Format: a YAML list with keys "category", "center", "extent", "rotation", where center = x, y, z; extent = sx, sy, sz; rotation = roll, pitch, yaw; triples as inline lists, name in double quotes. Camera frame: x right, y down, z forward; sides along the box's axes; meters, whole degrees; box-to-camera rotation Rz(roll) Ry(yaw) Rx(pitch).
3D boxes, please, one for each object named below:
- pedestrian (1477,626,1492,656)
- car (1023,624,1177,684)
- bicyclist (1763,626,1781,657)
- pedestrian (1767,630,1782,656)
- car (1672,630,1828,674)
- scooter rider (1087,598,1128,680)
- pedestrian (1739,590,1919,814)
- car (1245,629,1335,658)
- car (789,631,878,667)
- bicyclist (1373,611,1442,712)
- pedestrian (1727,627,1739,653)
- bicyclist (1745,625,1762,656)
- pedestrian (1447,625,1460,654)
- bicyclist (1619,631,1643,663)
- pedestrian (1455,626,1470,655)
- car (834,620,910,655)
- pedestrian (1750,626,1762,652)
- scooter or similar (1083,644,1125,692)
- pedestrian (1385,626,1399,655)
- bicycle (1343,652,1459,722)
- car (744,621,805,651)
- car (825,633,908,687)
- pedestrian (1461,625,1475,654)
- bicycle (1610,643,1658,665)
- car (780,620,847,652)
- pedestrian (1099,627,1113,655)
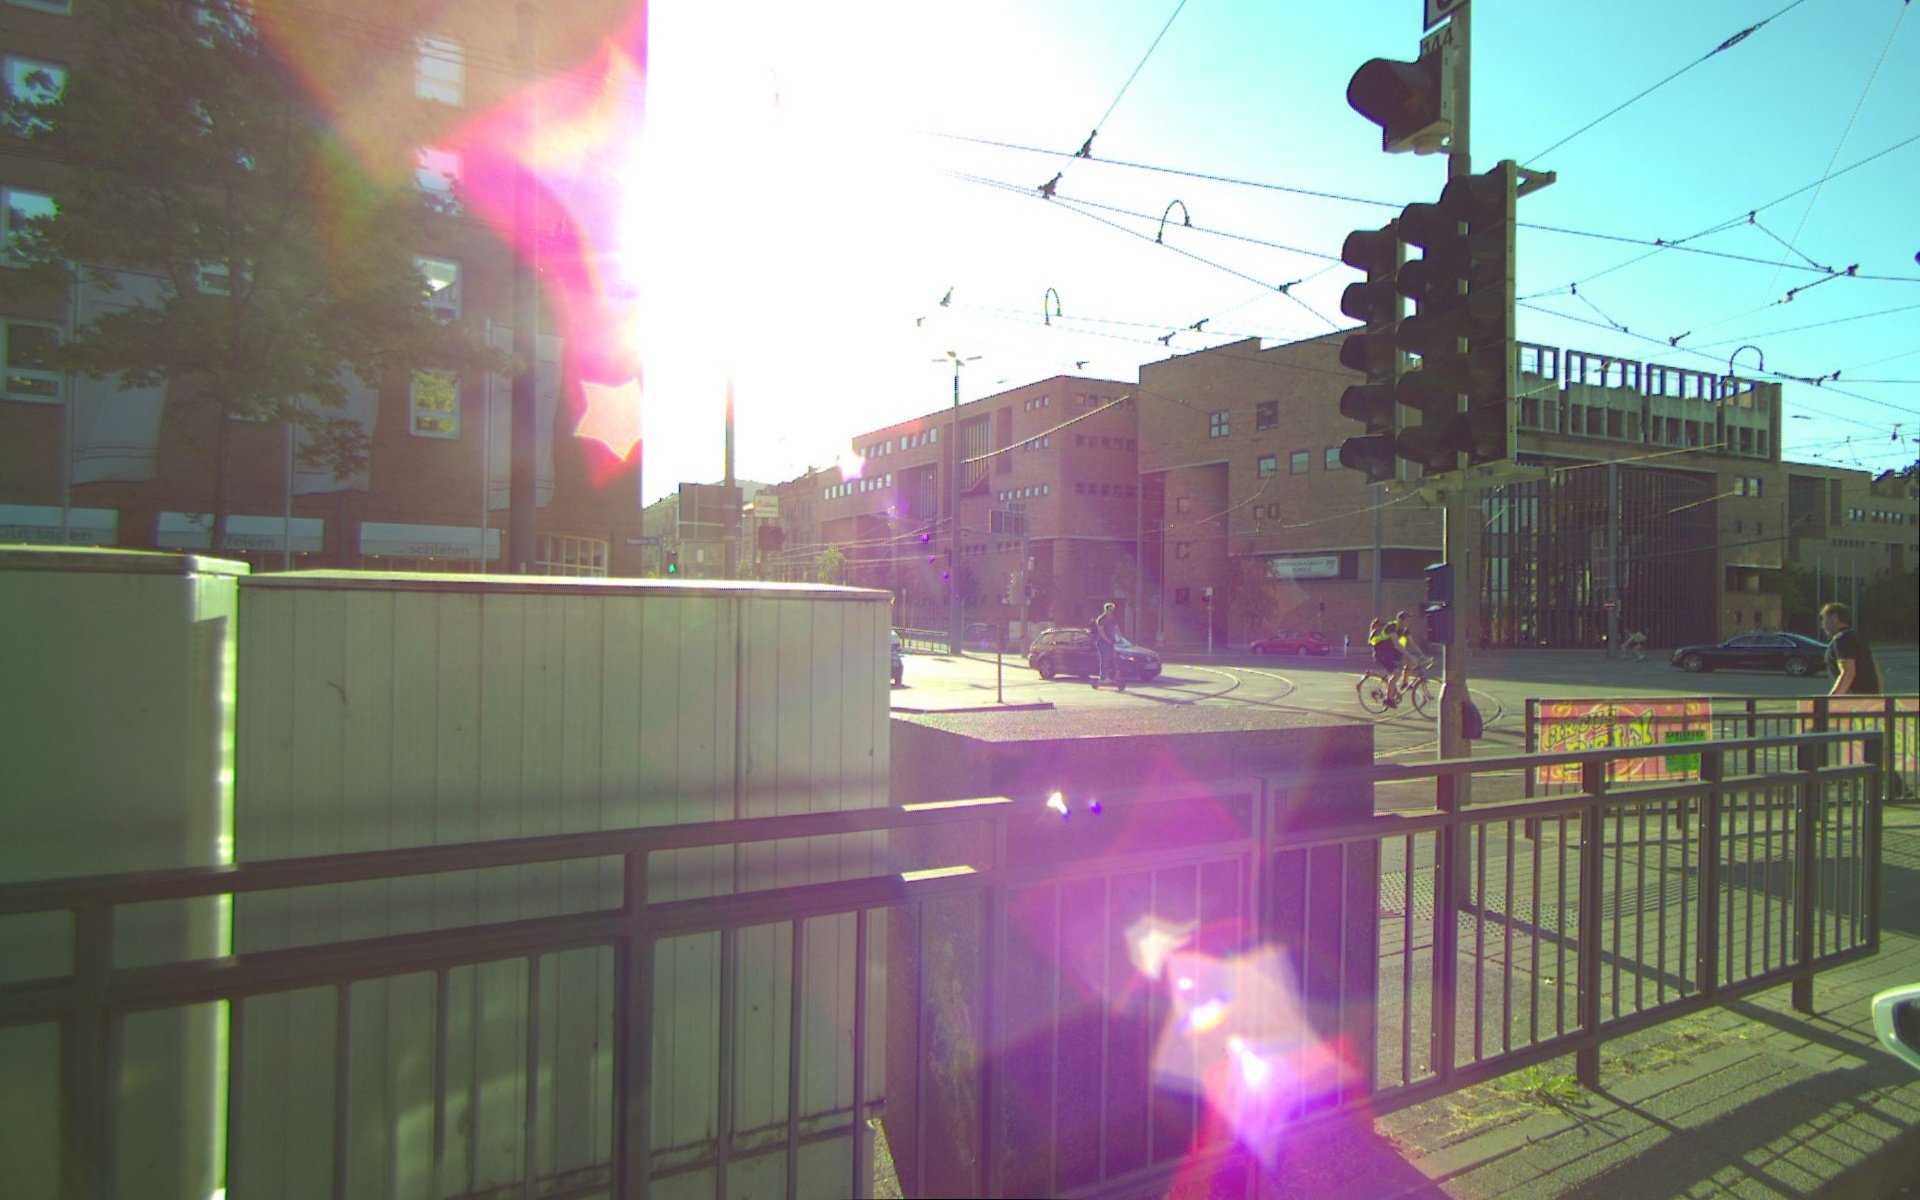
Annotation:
- category: "pedestrian"
  center: [30.067, 2.345, 57.606]
  extent: [0.528, 1.672, 0.625]
  rotation: [0, -1, 0]
- category: "car"
  center: [3.967, 1.506, 29.105]
  extent: [1.981, 1.538, 4.354]
  rotation: [0, -1, -36]
- category: "bicyclist"
  center: [45.107, 2.280, 55.816]
  extent: [0.782, 1.697, 0.589]
  rotation: [1, -1, -36]
- category: "pedestrian"
  center: [57.223, 3.034, 70.536]
  extent: [0.538, 1.834, 0.640]
  rotation: [1, -1, -23]
- category: "car"
  center: [28.712, 1.853, 36.610]
  extent: [1.780, 1.453, 4.207]
  rotation: [1, -2, -39]
- category: "scooter rider"
  center: [3.549, 0.930, 24.137]
  extent: [0.727, 1.921, 0.661]
  rotation: [1, -2, -27]
- category: "pedestrian"
  center: [7.955, 0.861, 9.096]
  extent: [1.032, 1.846, 1.200]
  rotation: [2, -1, -36]
- category: "car"
  center: [17.248, 2.245, 52.669]
  extent: [1.780, 1.411, 4.207]
  rotation: [2, -2, -39]
- category: "car"
  center: [-5.406, 2.050, 42.554]
  extent: [1.980, 1.398, 4.351]
  rotation: [1, -2, -35]
- category: "bicyclist"
  center: [7.739, 1.039, 17.394]
  extent: [0.631, 1.686, 0.901]
  rotation: [1, -1, -27]
- category: "pedestrian"
  center: [55.272, 2.845, 71.790]
  extent: [0.538, 1.834, 0.489]
  rotation: [1, -1, -23]
- category: "bicyclist"
  center: [44.524, 2.263, 56.353]
  extent: [0.782, 1.697, 0.589]
  rotation: [1, -1, -36]
- category: "pedestrian"
  center: [29.097, 2.339, 59.228]
  extent: [0.527, 1.672, 0.626]
  rotation: [0, -1, 2]
- category: "bicyclist"
  center: [30.093, 2.108, 45.046]
  extent: [0.810, 1.384, 0.398]
  rotation: [-1, -2, 45]
- category: "pedestrian"
  center: [28.733, 2.315, 57.395]
  extent: [0.527, 1.672, 0.626]
  rotation: [-1, -2, 4]
- category: "car"
  center: [-4.598, 1.907, 52.052]
  extent: [1.981, 1.719, 4.316]
  rotation: [1, -2, -36]
- category: "pedestrian"
  center: [56.858, 2.785, 71.732]
  extent: [0.538, 1.834, 0.489]
  rotation: [1, -1, -23]
- category: "scooter or similar"
  center: [3.459, 1.620, 24.158]
  extent: [0.397, 1.119, 1.202]
  rotation: [1, -1, -26]
- category: "pedestrian"
  center: [24.385, 2.280, 56.642]
  extent: [0.560, 1.635, 0.545]
  rotation: [0, -1, 1]
- category: "bicycle"
  center: [7.659, 1.487, 17.538]
  extent: [0.621, 1.078, 1.916]
  rotation: [1, -1, -27]
- category: "car"
  center: [-11.438, 2.187, 61.722]
  extent: [1.981, 1.719, 4.316]
  rotation: [1, -2, -36]
- category: "car"
  center: [-2.713, 1.649, 28.575]
  extent: [1.614, 1.416, 3.292]
  rotation: [1, -2, -19]
- category: "pedestrian"
  center: [29.452, 2.277, 58.211]
  extent: [0.527, 1.672, 0.626]
  rotation: [0, -1, 1]
- category: "bicycle"
  center: [30.164, 2.416, 44.969]
  extent: [1.723, 0.911, 0.406]
  rotation: [-1, -2, 45]
- category: "car"
  center: [-8.327, 2.018, 56.808]
  extent: [1.981, 1.719, 4.316]
  rotation: [1, -2, -36]
- category: "pedestrian"
  center: [8.582, 2.411, 59.025]
  extent: [0.608, 1.635, 0.540]
  rotation: [-1, 2, -35]
